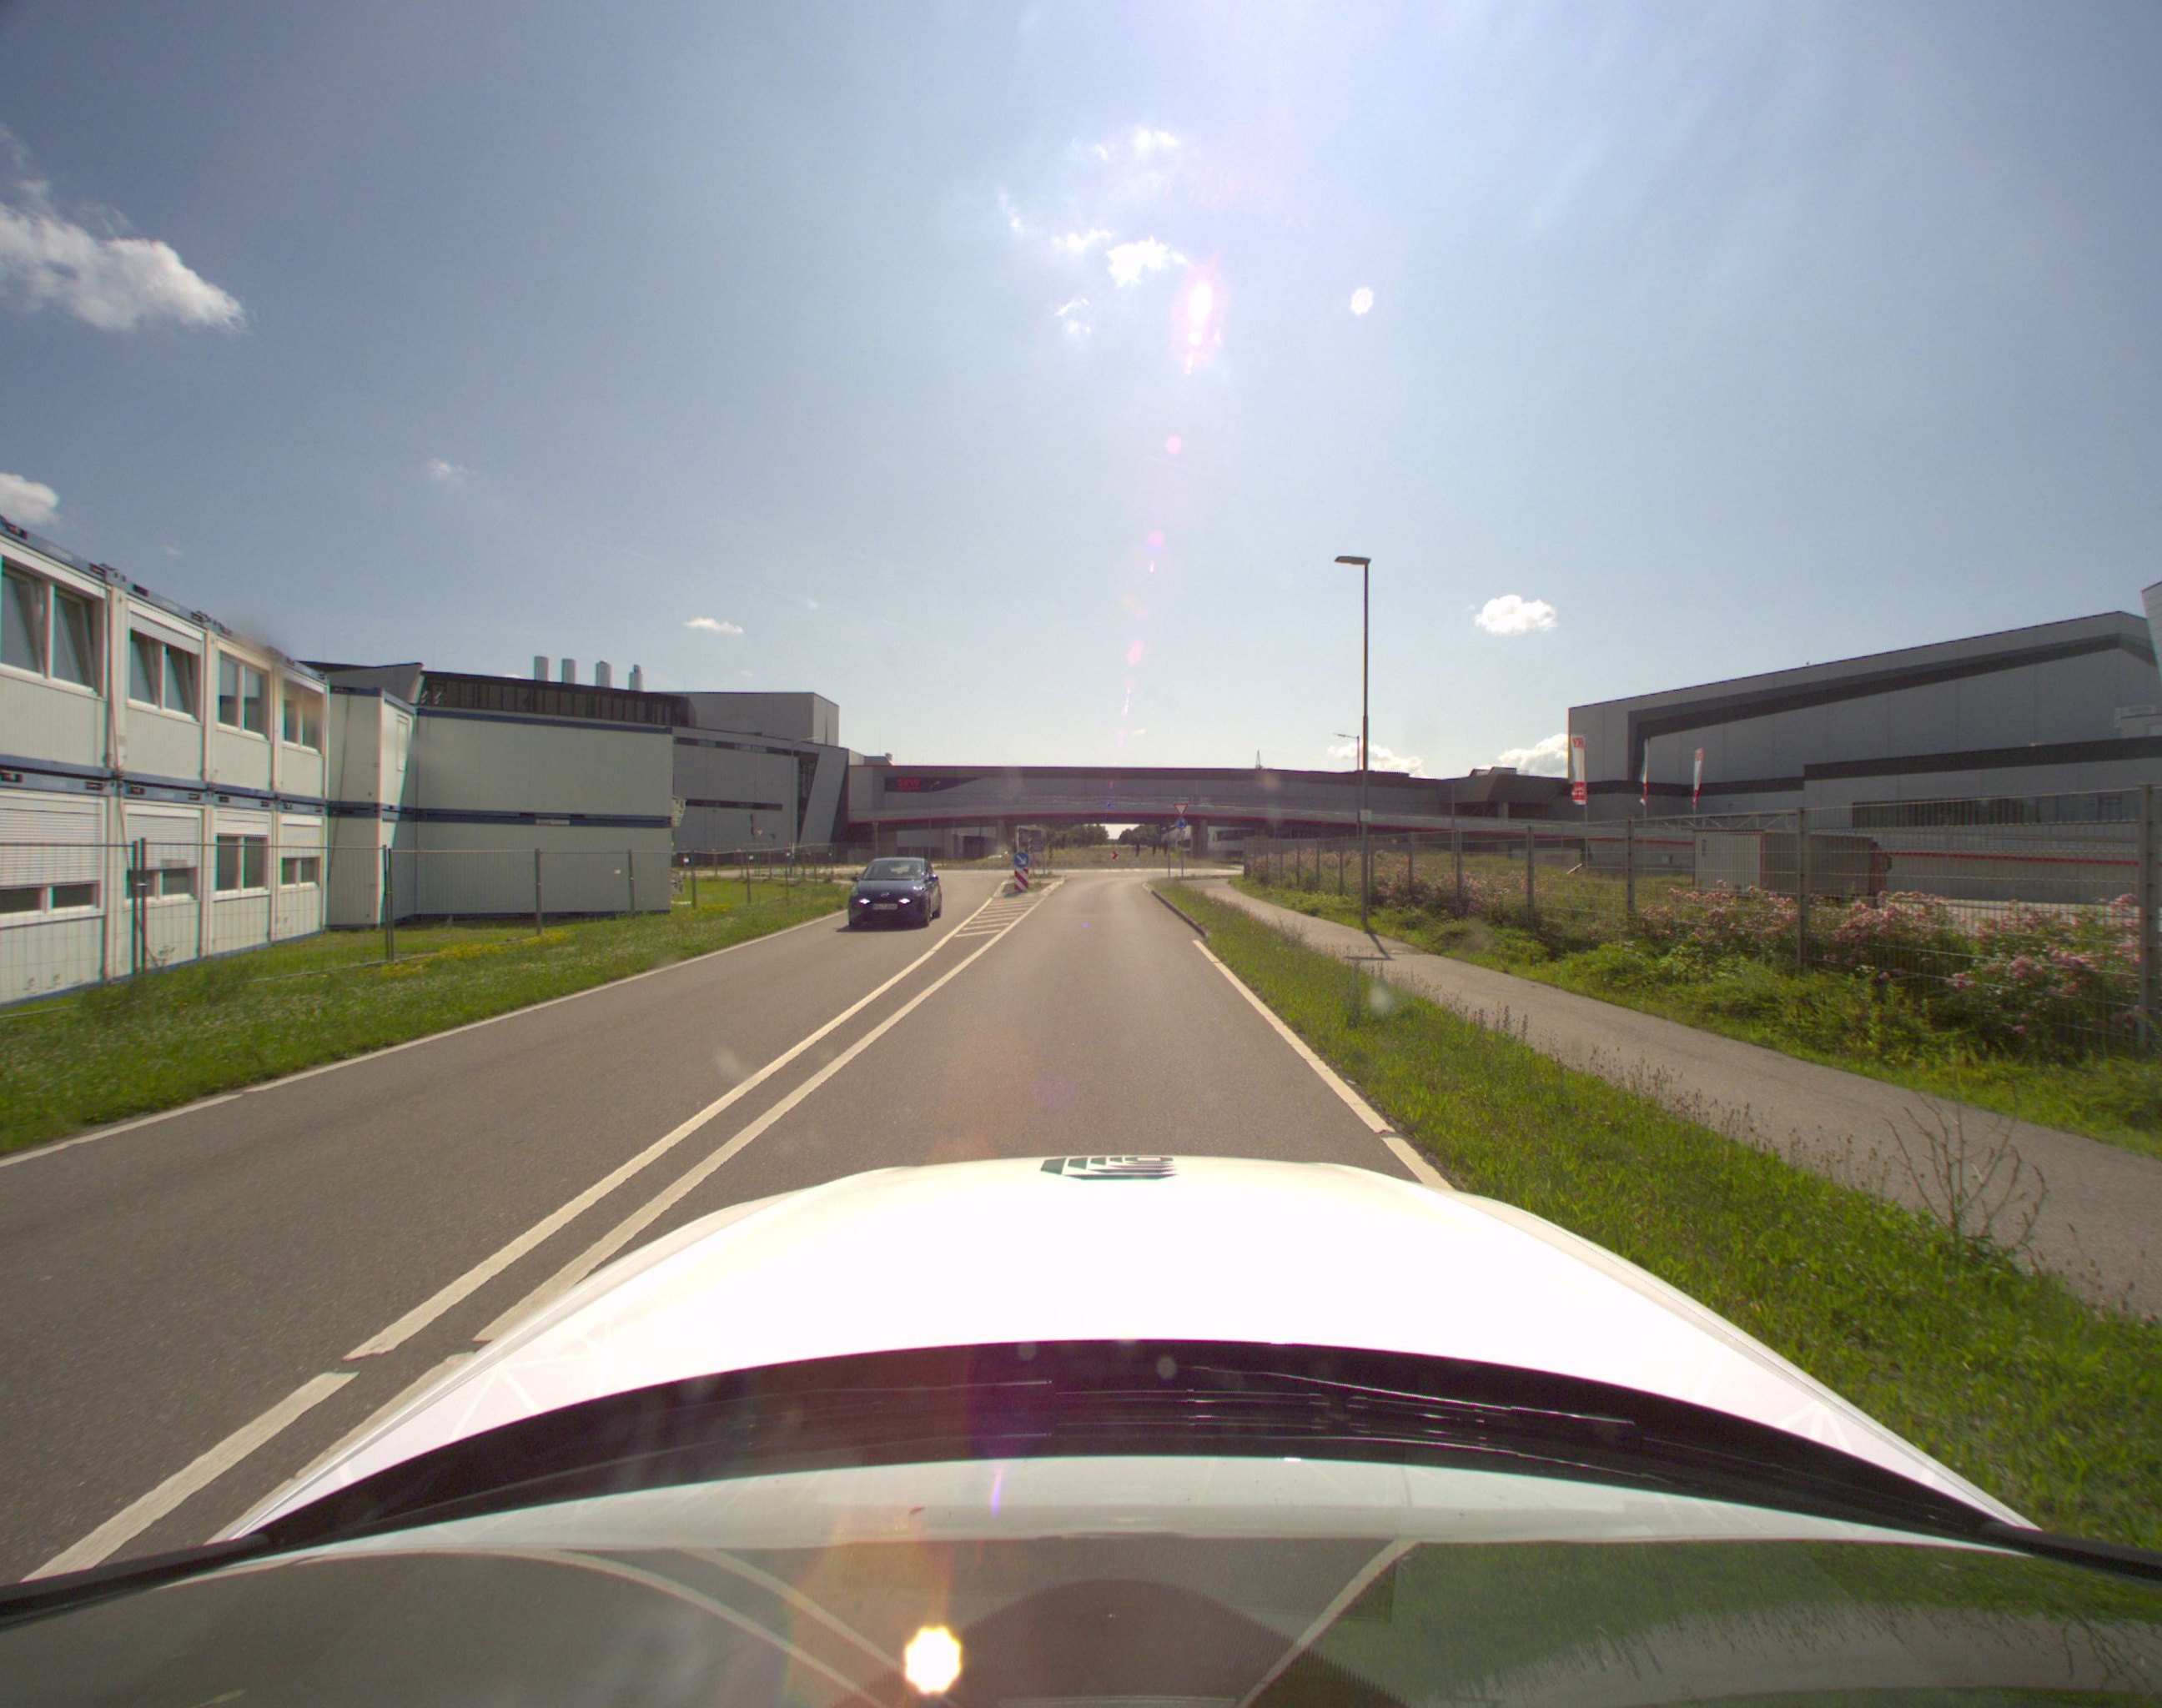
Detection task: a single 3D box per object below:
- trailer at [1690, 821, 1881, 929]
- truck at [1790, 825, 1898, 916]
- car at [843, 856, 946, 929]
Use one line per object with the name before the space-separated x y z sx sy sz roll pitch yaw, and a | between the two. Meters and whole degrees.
trailer | 33.562 0.843 38.456 14.111 4.438 2.738 0 -1 -32
truck | 39.563 0.802 42.195 5.309 4.423 2.738 0 -1 -32
car | -4.137 0.799 18.622 1.700 1.482 3.994 -1 -1 -4
